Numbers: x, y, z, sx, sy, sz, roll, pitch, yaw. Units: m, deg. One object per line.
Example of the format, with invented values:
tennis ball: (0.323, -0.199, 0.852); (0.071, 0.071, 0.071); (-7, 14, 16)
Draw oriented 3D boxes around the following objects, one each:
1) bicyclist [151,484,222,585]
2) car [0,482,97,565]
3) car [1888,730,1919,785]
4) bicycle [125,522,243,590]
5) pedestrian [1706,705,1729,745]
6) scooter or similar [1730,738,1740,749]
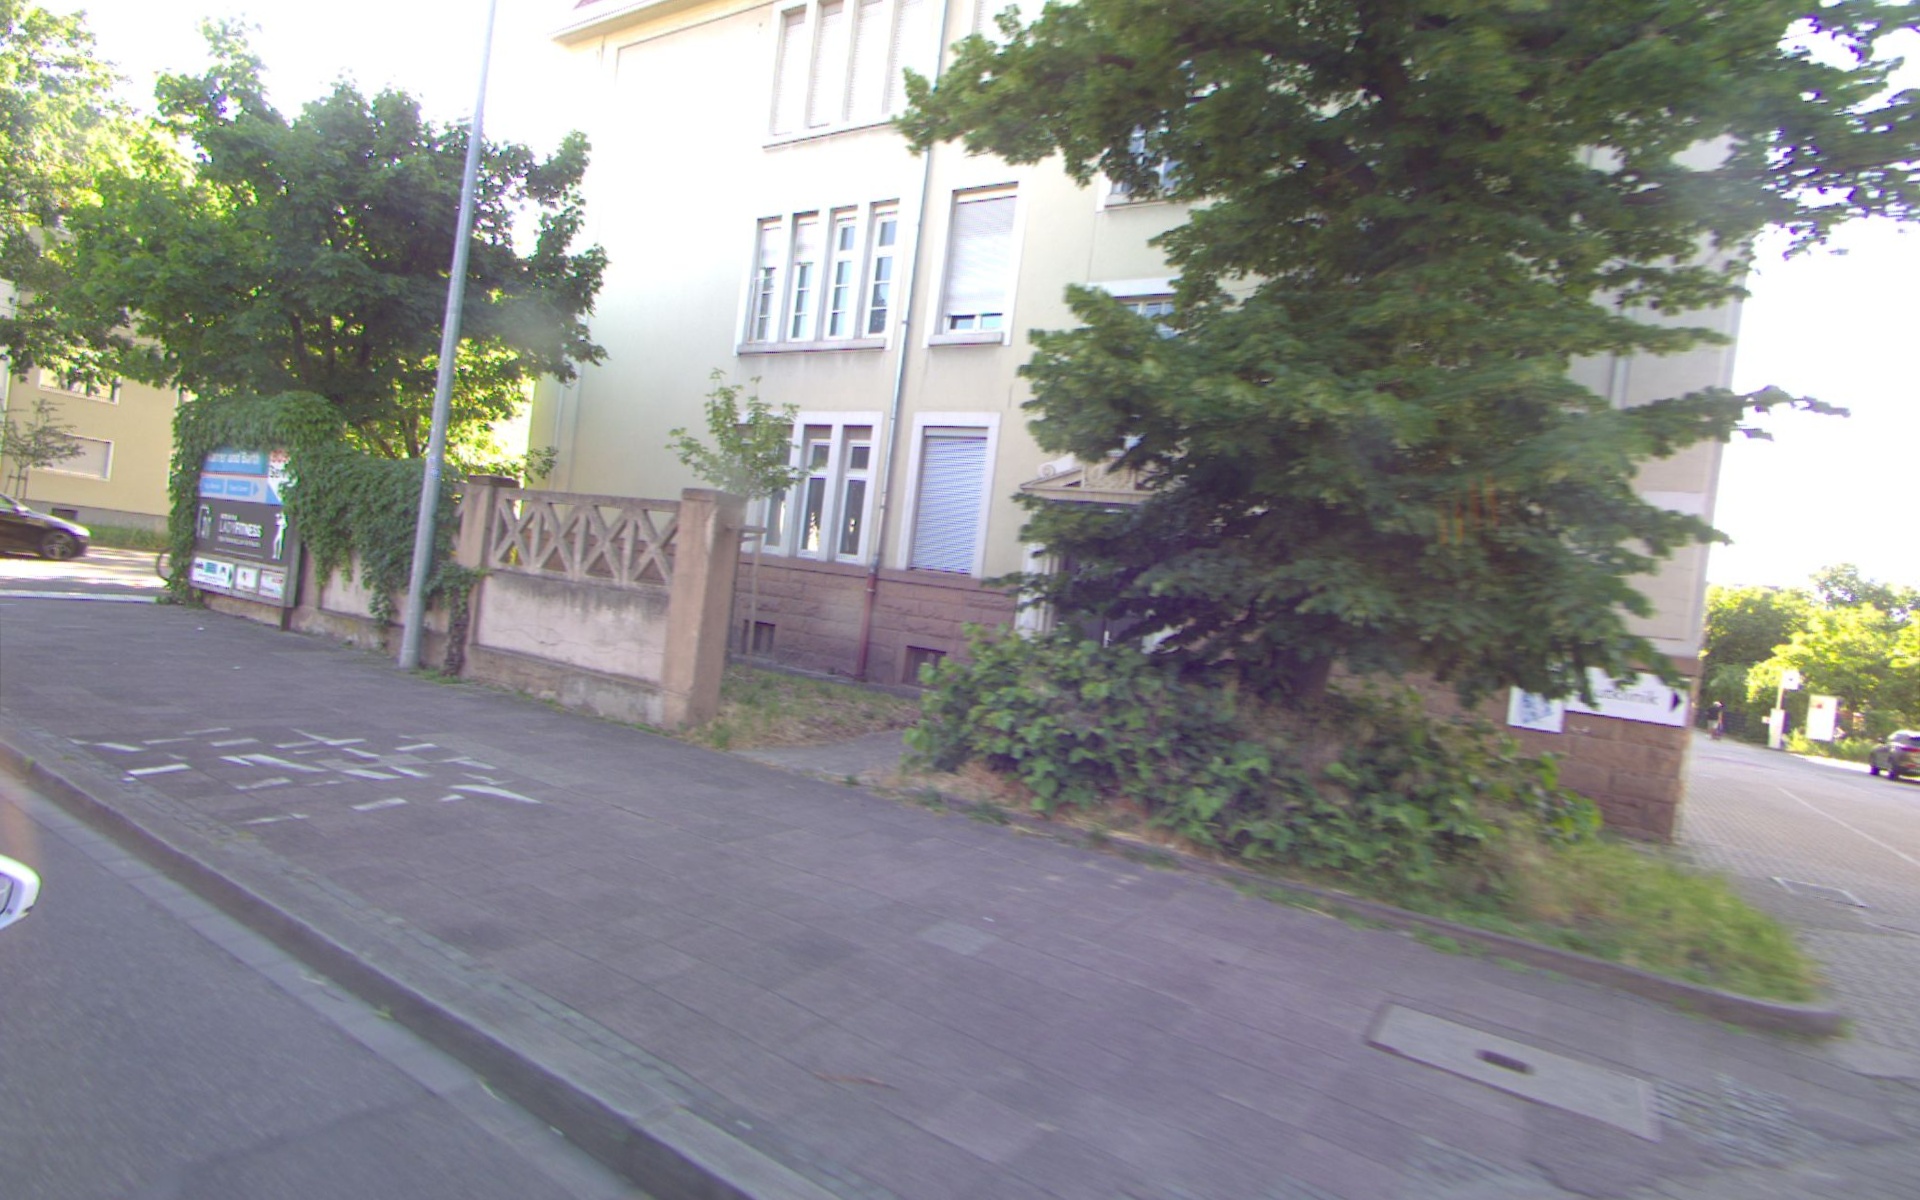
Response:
bicyclist: (-14.664, -1.231, 19.076); (0.603, 1.779, 0.786); (8, 1, 36)
car: (-19.428, -1.671, 19.138); (1.818, 1.438, 4.210); (8, -1, 13)
car: (30.856, 5.080, 32.004); (1.764, 1.575, 3.430); (7, 0, 43)
bicycle: (-14.710, -0.815, 19.122); (0.346, 1.093, 1.685); (8, 0, 32)
pedestrian: (35.266, 5.808, 46.835); (0.632, 1.739, 0.491); (8, 1, 31)
scooter or similar: (35.205, 6.528, 45.695); (0.289, 0.417, 0.269); (8, 1, 31)
